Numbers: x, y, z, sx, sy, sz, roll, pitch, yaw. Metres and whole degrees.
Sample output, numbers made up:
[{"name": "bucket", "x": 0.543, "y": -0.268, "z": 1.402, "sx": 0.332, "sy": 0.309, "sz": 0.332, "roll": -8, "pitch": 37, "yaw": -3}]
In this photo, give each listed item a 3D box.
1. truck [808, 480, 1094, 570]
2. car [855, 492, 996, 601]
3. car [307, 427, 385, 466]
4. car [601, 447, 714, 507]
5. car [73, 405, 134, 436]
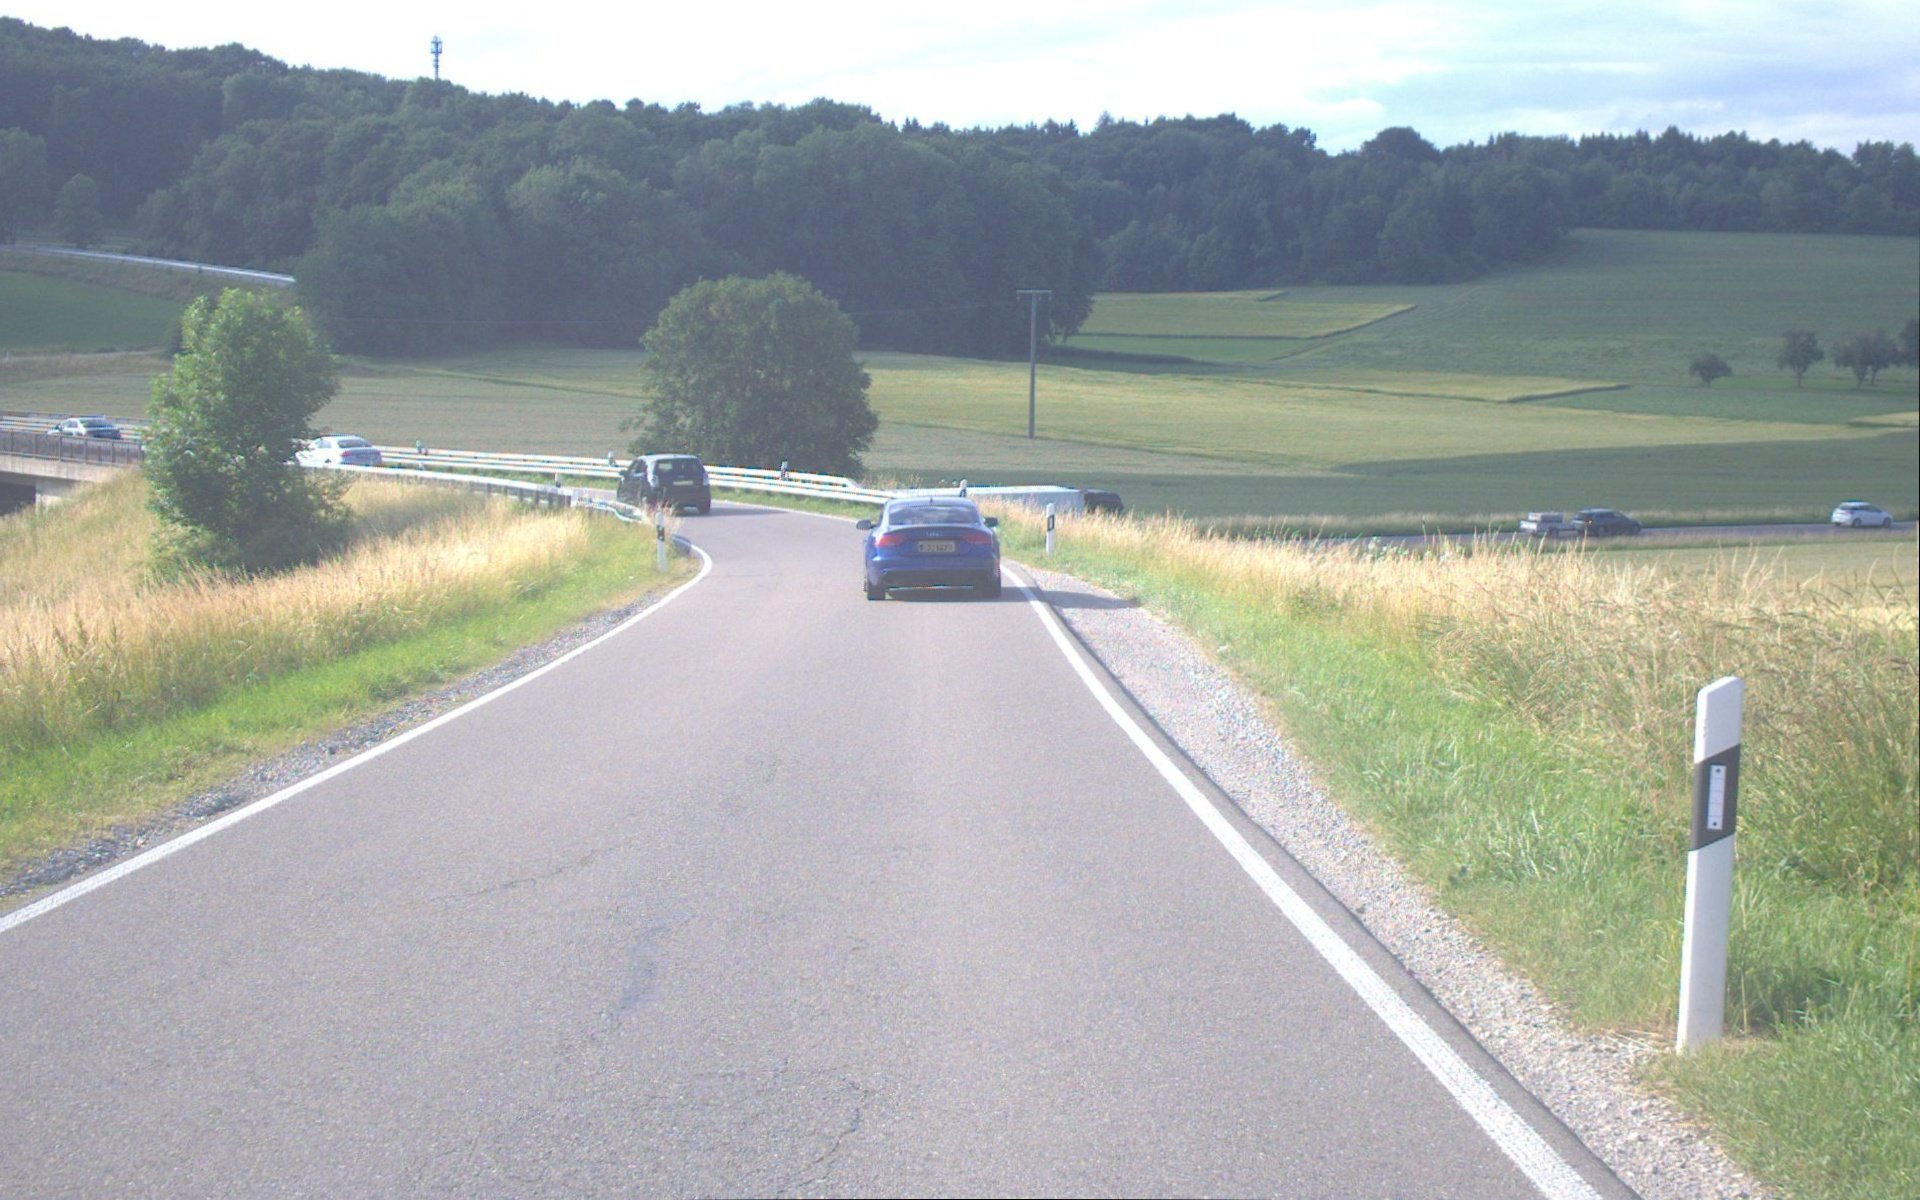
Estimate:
[{"name": "truck", "x": -0.326, "y": -3.714, "z": 168.756, "sx": 14.381, "sy": 3.982, "sz": 4.079, "roll": -3, "pitch": 2, "yaw": -37}, {"name": "car", "x": -0.470, "y": -0.771, "z": 47.517, "sx": 1.818, "sy": 1.334, "sz": 4.351, "roll": -2, "pitch": 2, "yaw": 0}, {"name": "car", "x": -21.940, "y": -5.487, "z": 122.708, "sx": 1.682, "sy": 1.371, "sz": 4.001, "roll": -1, "pitch": 3, "yaw": -26}, {"name": "car", "x": -8.186, "y": -3.331, "z": 92.802, "sx": 1.861, "sy": 1.563, "sz": 4.001, "roll": -2, "pitch": 3, "yaw": -23}, {"name": "car", "x": -35.120, "y": -7.362, "z": 140.968, "sx": 1.471, "sy": 1.223, "sz": 3.300, "roll": -2, "pitch": 3, "yaw": -32}]
